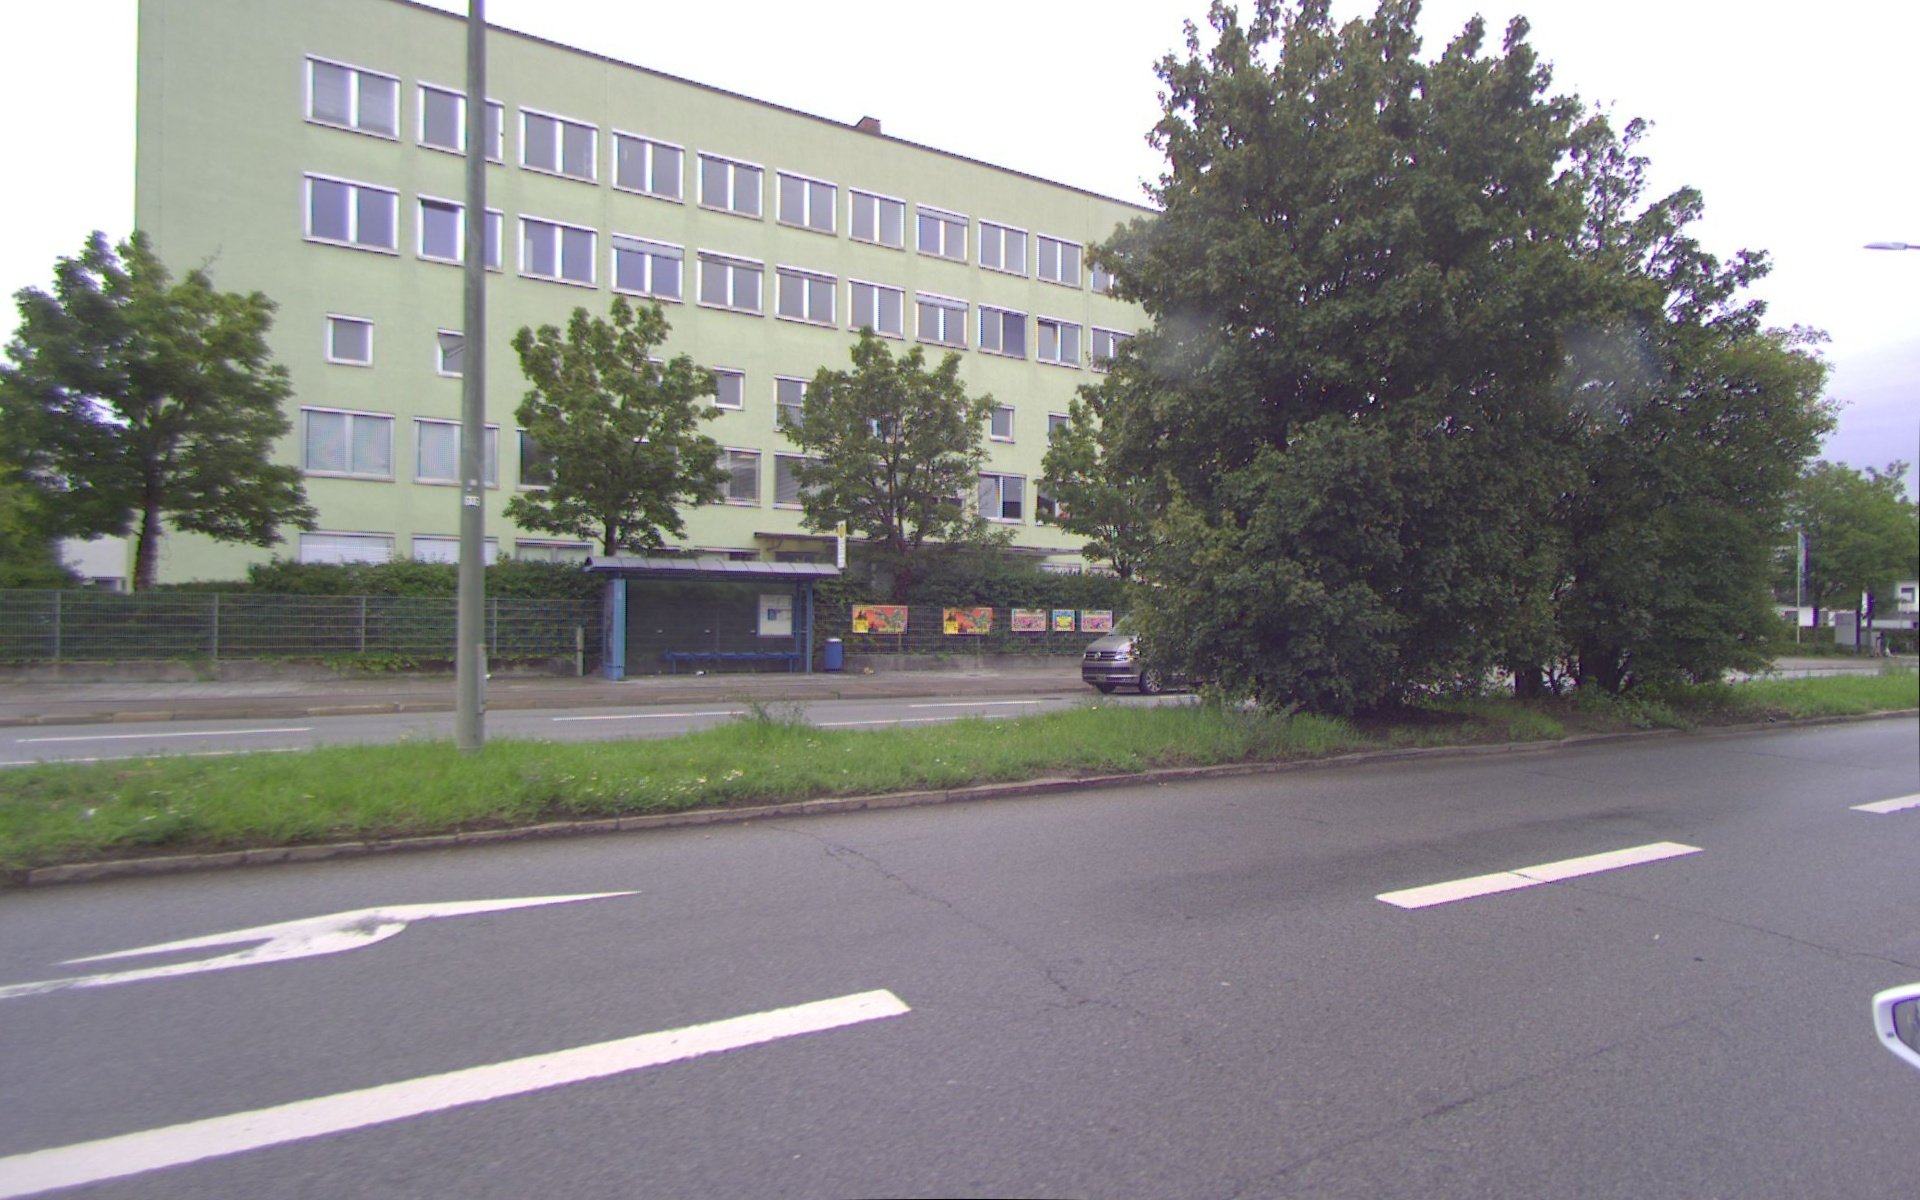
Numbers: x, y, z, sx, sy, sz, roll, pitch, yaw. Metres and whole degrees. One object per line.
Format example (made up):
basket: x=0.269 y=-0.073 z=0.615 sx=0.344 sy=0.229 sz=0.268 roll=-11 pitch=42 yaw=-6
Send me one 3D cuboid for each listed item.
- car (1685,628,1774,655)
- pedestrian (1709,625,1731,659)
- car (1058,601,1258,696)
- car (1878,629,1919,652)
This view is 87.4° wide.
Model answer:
car: x=44.740 y=2.432 z=58.506 sx=1.768 sy=1.529 sz=3.995 roll=0 pitch=-2 yaw=-8
pedestrian: x=36.941 y=2.051 z=48.827 sx=0.614 sy=1.631 sz=0.633 roll=1 pitch=-2 yaw=-30
car: x=4.556 y=1.091 z=22.984 sx=4.275 sy=1.986 sz=1.984 roll=1 pitch=-3 yaw=-31
car: x=71.159 y=3.016 z=74.659 sx=1.835 sy=1.730 sz=4.106 roll=2 pitch=-3 yaw=-41
